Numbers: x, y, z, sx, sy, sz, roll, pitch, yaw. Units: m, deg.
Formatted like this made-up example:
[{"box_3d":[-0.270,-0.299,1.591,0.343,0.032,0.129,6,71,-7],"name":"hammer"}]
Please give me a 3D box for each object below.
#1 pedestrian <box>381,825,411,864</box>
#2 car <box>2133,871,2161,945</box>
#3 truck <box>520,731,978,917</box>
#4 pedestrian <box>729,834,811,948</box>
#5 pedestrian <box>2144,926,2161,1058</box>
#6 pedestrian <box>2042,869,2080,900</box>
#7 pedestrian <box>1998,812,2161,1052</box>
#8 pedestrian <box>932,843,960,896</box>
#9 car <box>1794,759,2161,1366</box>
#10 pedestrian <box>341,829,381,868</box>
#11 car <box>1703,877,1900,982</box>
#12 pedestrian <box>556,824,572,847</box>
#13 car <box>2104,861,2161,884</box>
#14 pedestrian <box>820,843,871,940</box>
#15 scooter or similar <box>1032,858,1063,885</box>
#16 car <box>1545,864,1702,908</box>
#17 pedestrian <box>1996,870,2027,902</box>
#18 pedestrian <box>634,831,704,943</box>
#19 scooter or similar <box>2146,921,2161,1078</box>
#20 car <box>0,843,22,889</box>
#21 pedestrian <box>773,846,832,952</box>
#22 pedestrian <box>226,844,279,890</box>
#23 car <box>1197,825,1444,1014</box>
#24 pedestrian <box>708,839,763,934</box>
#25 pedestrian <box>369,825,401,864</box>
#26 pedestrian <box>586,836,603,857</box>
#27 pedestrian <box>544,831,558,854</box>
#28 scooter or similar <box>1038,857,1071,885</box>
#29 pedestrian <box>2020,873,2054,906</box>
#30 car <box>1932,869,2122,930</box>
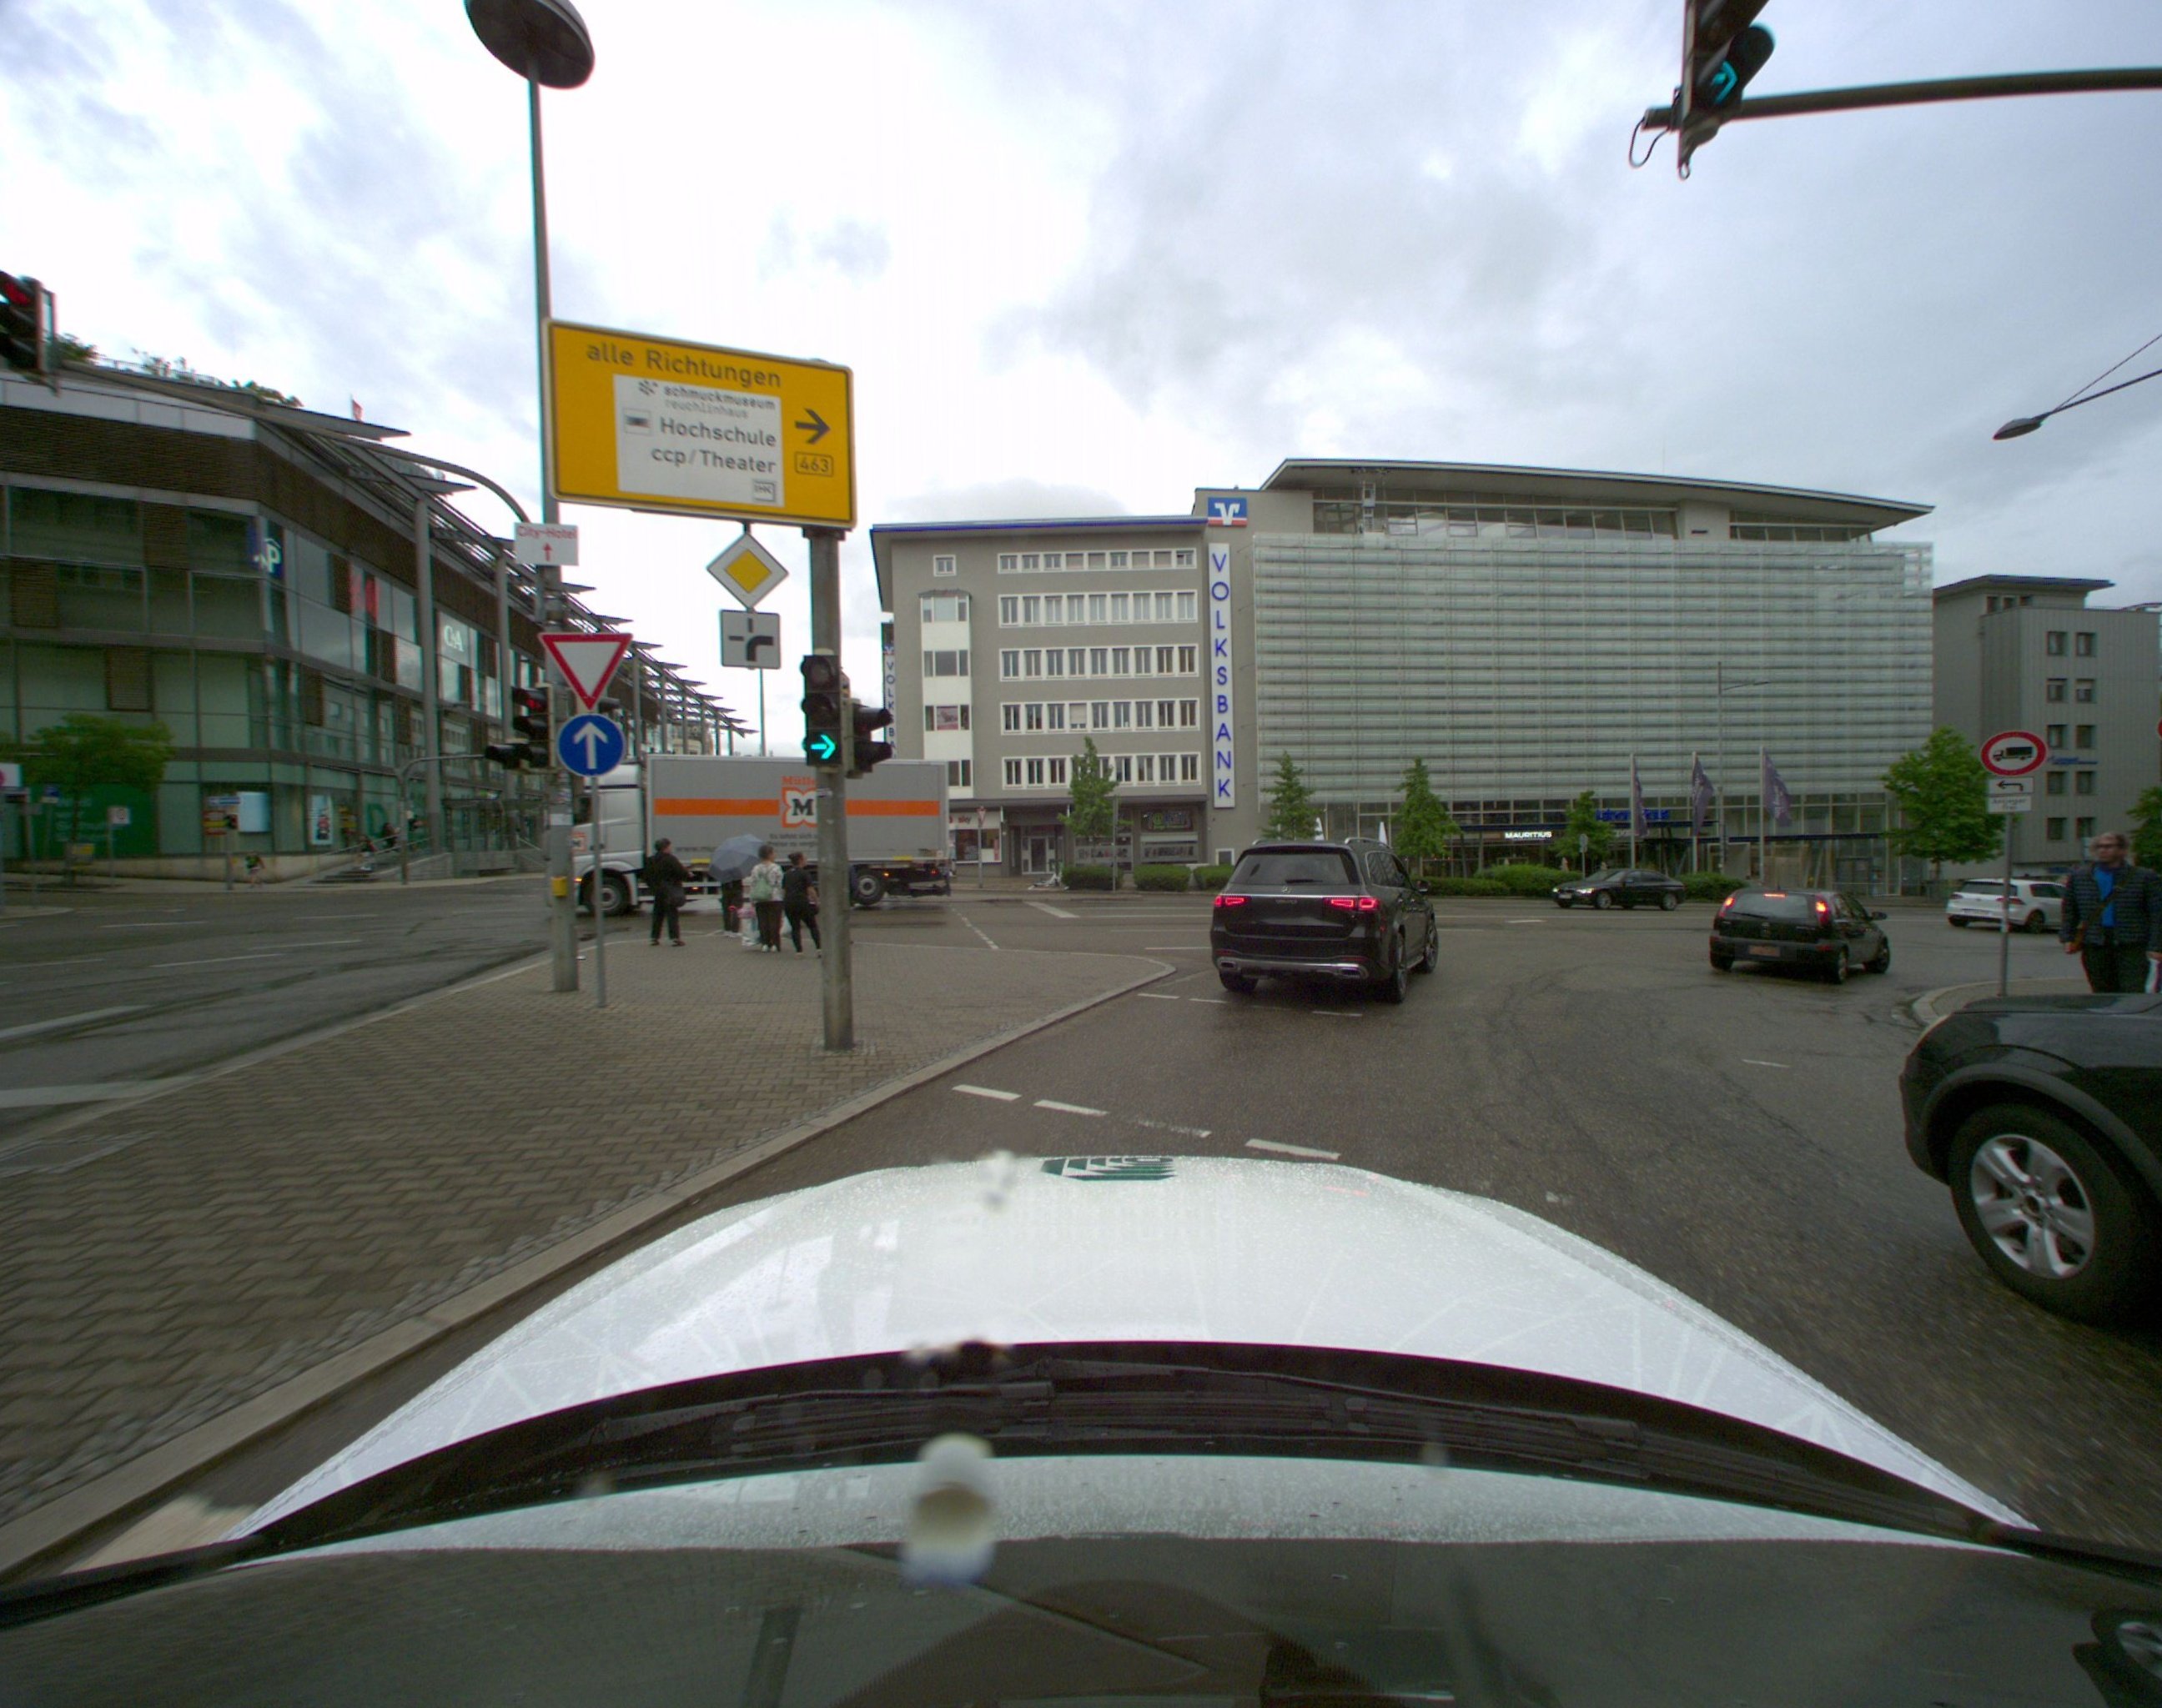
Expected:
[{"box_3d":[-35.514,-0.470,42.227,0.877,1.980,0.845,0,0,-16],"name":"pedestrian"},{"box_3d":[25.267,1.207,17.502,3.996,1.574,1.946,1,1,-17],"name":"car"},{"box_3d":[-8.354,-0.723,21.960,10.761,4.333,2.839,0,0,-17],"name":"truck"},{"box_3d":[-4.742,0.549,12.491,0.978,1.672,0.912,1,0,-10],"name":"pedestrian"},{"box_3d":[8.301,1.047,5.994,0.259,0.999,0.473,-5,-1,8],"name":"pedestrian"},{"box_3d":[56.286,1.755,46.794,1.085,1.722,0.975,1,0,-6],"name":"pedestrian"},{"box_3d":[8.613,0.630,6.866,0.613,1.867,0.787,-4,-4,0],"name":"pedestrian"},{"box_3d":[-4.662,0.529,28.084,0.832,1.778,0.613,1,0,-21],"name":"pedestrian"},{"box_3d":[4.080,0.661,1.533,1.898,1.785,4.308,2,1,5],"name":"car"},{"box_3d":[-32.371,-0.240,36.645,1.042,1.713,1.001,0,0,-21],"name":"pedestrian"},{"box_3d":[12.074,1.149,13.583,3.787,1.420,1.704,1,1,-37],"name":"car"},{"box_3d":[-38.511,-1.365,60.647,0.830,1.713,0.796,0,0,-21],"name":"pedestrian"},{"box_3d":[94.805,1.680,72.007,2.003,1.758,5.048,1,2,-25],"name":"car"},{"box_3d":[-3.941,0.618,13.704,0.713,1.568,0.851,1,-1,-11],"name":"pedestrian"},{"box_3d":[-1.538,0.813,37.561,1.373,1.187,0.545,-1,0,4],"name":"scooter or similar"},{"box_3d":[18.814,1.105,28.293,4.626,1.425,1.990,1,0,-15],"name":"car"},{"box_3d":[51.689,1.764,45.241,1.042,1.722,0.986,1,0,-31],"name":"pedestrian"},{"box_3d":[-6.506,0.520,12.889,0.784,1.711,0.704,1,-1,-11],"name":"pedestrian"},{"box_3d":[8.079,1.008,5.445,0.965,1.109,0.656,-3,-1,4],"name":"scooter or similar"},{"box_3d":[-38.449,0.359,26.613,4.304,1.546,1.790,1,0,-26],"name":"car"},{"box_3d":[-4.015,0.644,11.771,0.705,1.488,0.558,1,-2,-11],"name":"pedestrian"},{"box_3d":[-31.833,0.490,31.290,1.032,1.713,1.011,0,0,12],"name":"pedestrian"},{"box_3d":[3.325,0.653,10.444,2.068,1.817,4.821,0,-1,28],"name":"car"},{"box_3d":[-6.260,0.586,14.803,0.756,1.692,0.691,1,-2,-11],"name":"pedestrian"},{"box_3d":[-35.293,-0.474,41.293,0.882,1.980,0.969,0,0,-16],"name":"pedestrian"},{"box_3d":[-40.971,-0.648,68.612,1.042,1.713,1.001,0,0,-21],"name":"pedestrian"},{"box_3d":[-39.303,-0.829,60.384,0.683,1.713,0.844,0,0,-21],"name":"pedestrian"},{"box_3d":[-1.259,0.824,39.276,1.490,1.256,0.932,0,3,4],"name":"scooter or similar"},{"box_3d":[51.524,1.905,43.894,1.313,1.713,0.813,1,0,-20],"name":"pedestrian"},{"box_3d":[27.248,1.280,23.515,3.991,1.574,1.948,1,1,-13],"name":"car"}]
